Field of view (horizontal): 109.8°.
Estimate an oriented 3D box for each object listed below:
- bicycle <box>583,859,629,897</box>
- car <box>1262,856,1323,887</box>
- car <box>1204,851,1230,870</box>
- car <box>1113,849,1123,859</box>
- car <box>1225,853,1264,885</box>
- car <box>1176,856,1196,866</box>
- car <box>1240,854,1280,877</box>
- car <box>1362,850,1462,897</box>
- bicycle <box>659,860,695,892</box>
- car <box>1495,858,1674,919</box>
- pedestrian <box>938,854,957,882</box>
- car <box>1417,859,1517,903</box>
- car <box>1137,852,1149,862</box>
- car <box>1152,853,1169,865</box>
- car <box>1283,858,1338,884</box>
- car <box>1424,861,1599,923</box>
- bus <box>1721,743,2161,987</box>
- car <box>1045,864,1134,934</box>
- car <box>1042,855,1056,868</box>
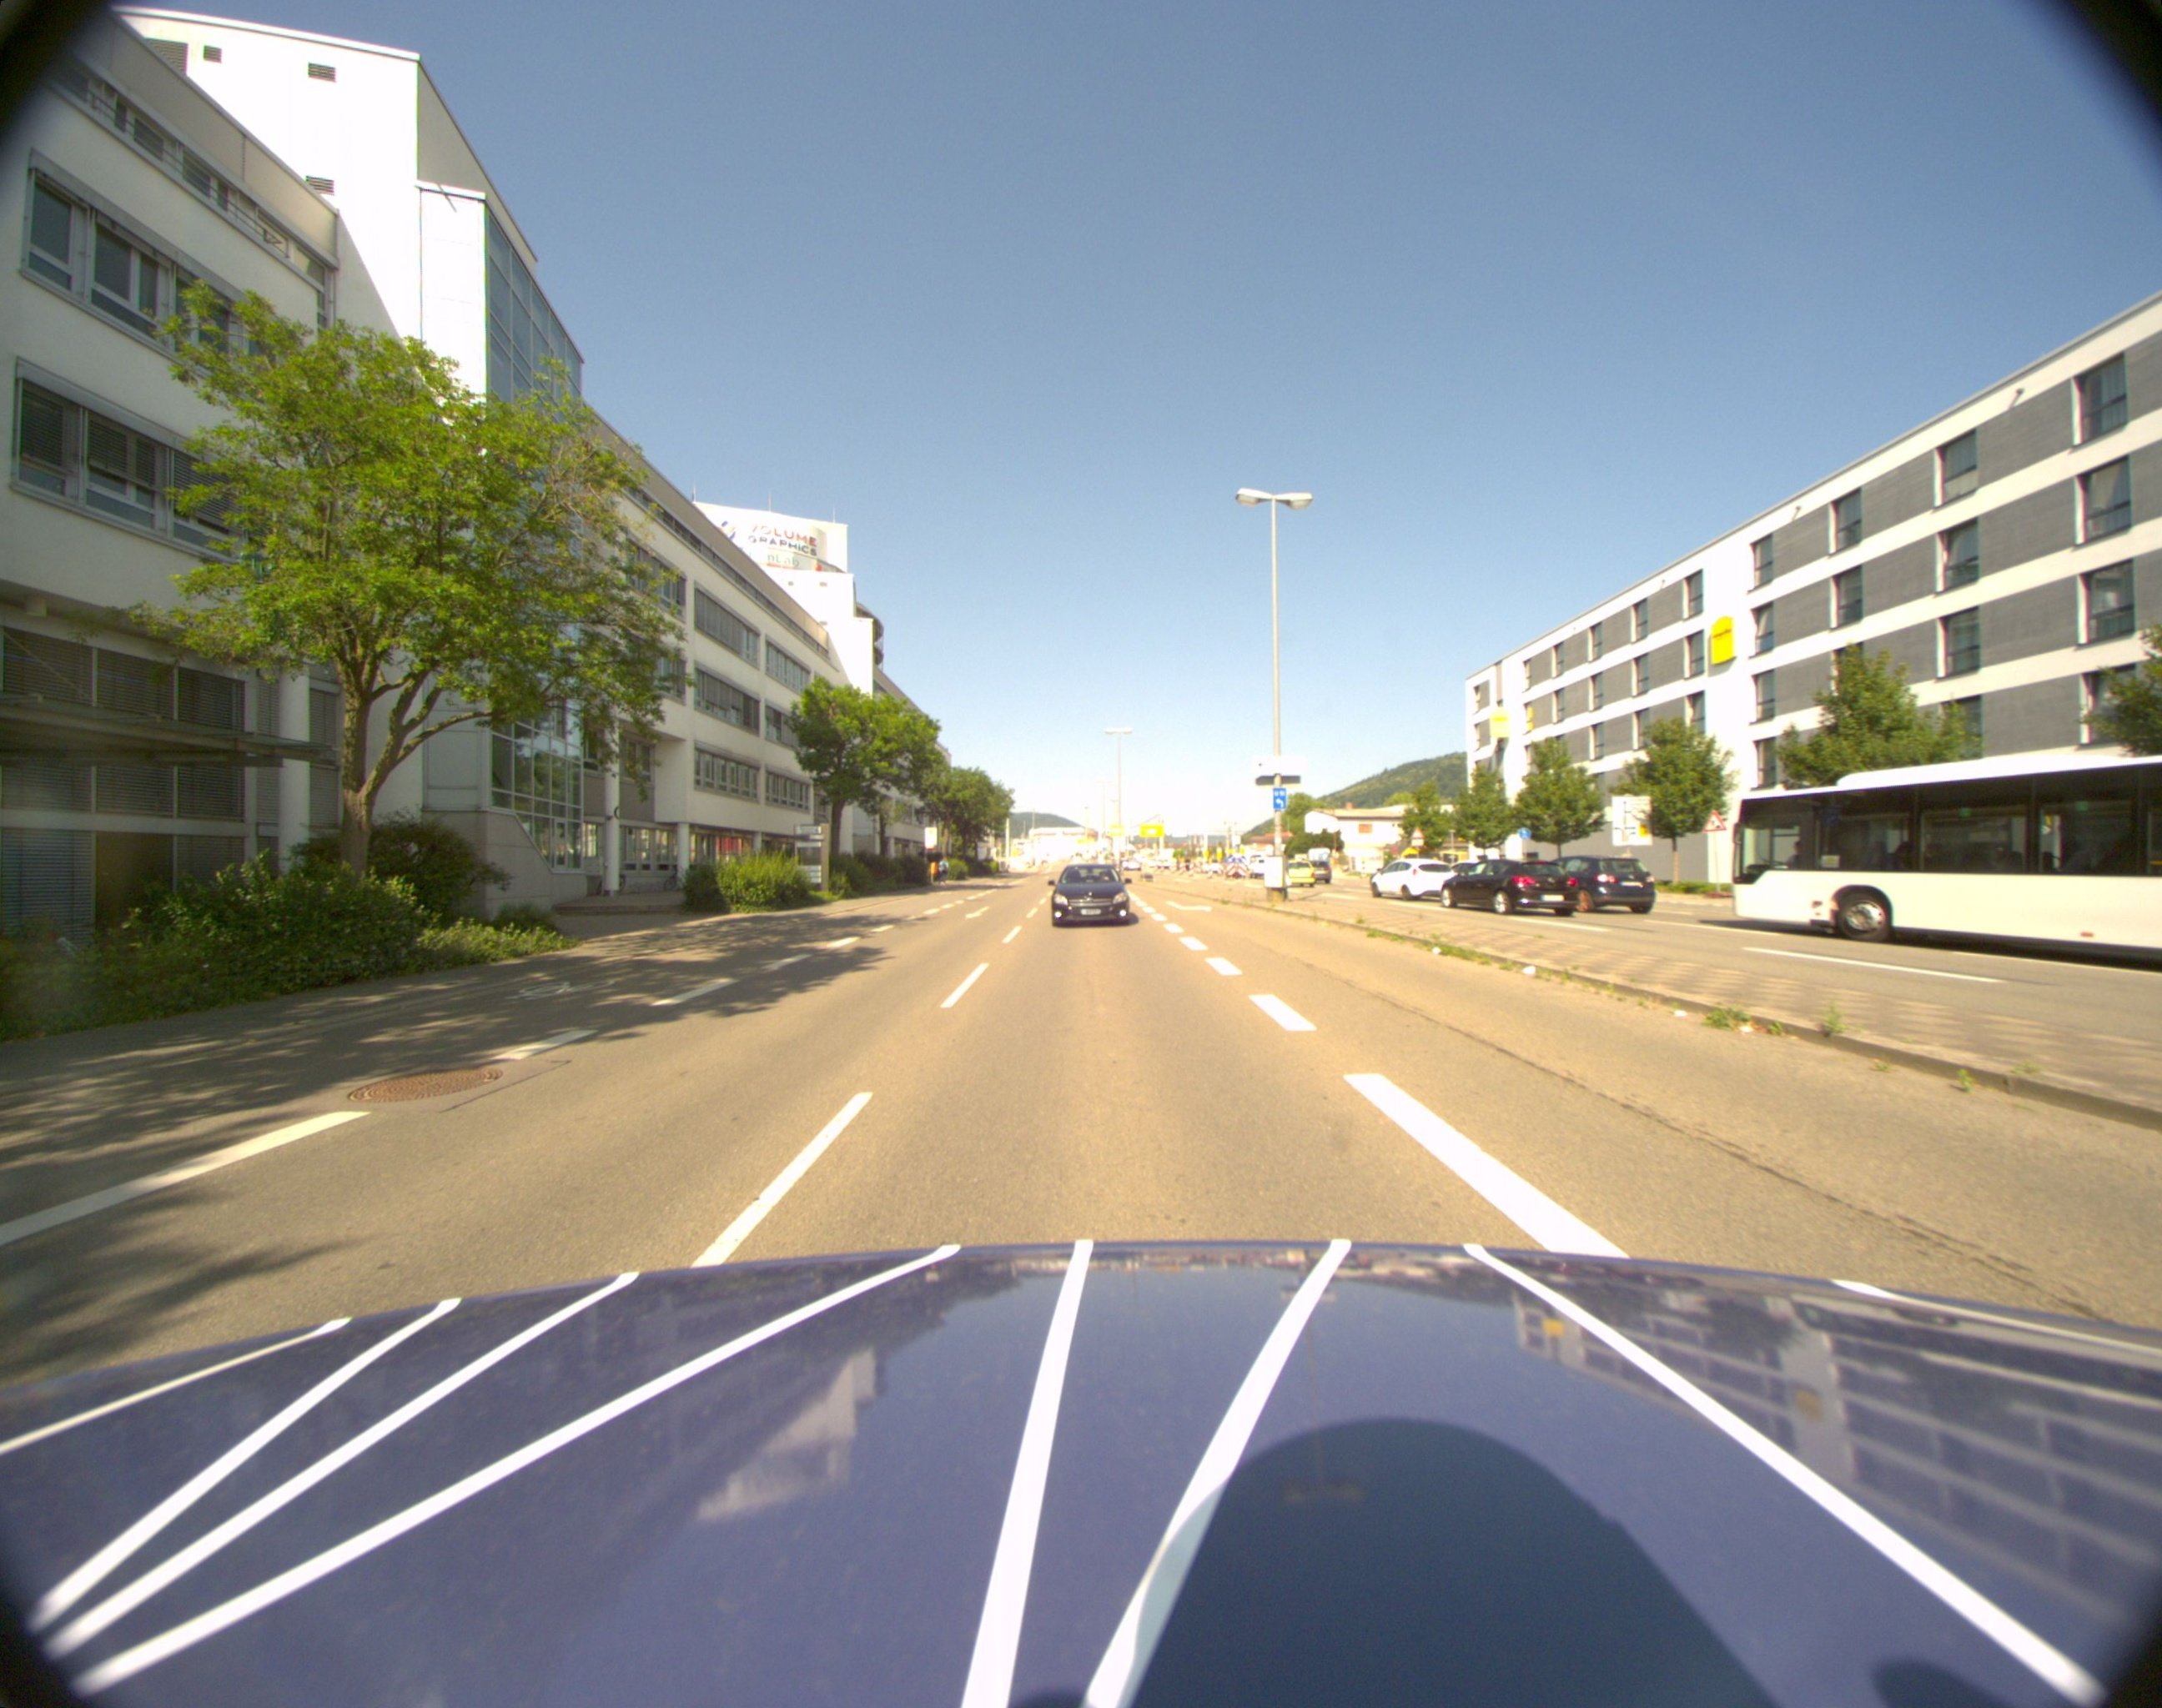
[{"bbox_3d":[-17.994,0.889,28.824,0.506,1.346,1.884,-1,0,1],"label":"bicycle"},{"bbox_3d":[11.382,0.908,41.253,1.998,1.513,4.891,-1,0,1],"label":"car"},{"bbox_3d":[14.590,0.654,81.803,1.999,2.002,4.000,-1,0,-1],"label":"car"},{"bbox_3d":[7.795,-0.100,159.702,1.998,2.002,4.000,-2,1,1],"label":"car"},{"bbox_3d":[10.951,0.972,51.142,1.679,2.002,4.164,-2,1,1],"label":"car"},{"bbox_3d":[13.730,0.924,99.517,1.815,1.328,3.938,-1,0,-3],"label":"car"},{"bbox_3d":[13.752,0.833,58.668,1.998,1.702,4.891,-1,0,1],"label":"car"},{"bbox_3d":[11.506,0.637,26.716,1.763,1.443,3.999,-2,1,0],"label":"car"},{"bbox_3d":[-17.639,0.956,33.221,0.506,1.346,1.884,-1,0,1],"label":"bicycle"},{"bbox_3d":[14.305,0.900,22.022,1.998,1.513,4.891,-1,0,1],"label":"car"},{"bbox_3d":[-9.015,0.921,51.361,0.942,1.875,1.289,2,0,1],"label":"pedestrian"},{"bbox_3d":[14.598,0.982,28.976,1.858,1.529,3.979,1,-1,2],"label":"car"},{"bbox_3d":[12.044,0.585,147.875,1.998,2.002,4.000,-1,0,1],"label":"car"},{"bbox_3d":[12.179,0.776,116.725,1.999,1.725,3.998,-1,0,-4],"label":"car"},{"bbox_3d":[14.260,1.004,47.420,1.998,1.513,4.891,-1,0,1],"label":"car"},{"bbox_3d":[11.421,0.927,20.660,1.998,1.423,4.891,-1,0,0],"label":"car"},{"bbox_3d":[14.958,0.165,10.083,2.745,3.060,11.975,1,0,0],"label":"bus"},{"bbox_3d":[0.210,0.998,18.769,1.905,1.431,4.694,-1,0,1],"label":"car"},{"bbox_3d":[-5.367,1.237,128.772,1.998,2.002,4.000,-2,1,2],"label":"car"}]
